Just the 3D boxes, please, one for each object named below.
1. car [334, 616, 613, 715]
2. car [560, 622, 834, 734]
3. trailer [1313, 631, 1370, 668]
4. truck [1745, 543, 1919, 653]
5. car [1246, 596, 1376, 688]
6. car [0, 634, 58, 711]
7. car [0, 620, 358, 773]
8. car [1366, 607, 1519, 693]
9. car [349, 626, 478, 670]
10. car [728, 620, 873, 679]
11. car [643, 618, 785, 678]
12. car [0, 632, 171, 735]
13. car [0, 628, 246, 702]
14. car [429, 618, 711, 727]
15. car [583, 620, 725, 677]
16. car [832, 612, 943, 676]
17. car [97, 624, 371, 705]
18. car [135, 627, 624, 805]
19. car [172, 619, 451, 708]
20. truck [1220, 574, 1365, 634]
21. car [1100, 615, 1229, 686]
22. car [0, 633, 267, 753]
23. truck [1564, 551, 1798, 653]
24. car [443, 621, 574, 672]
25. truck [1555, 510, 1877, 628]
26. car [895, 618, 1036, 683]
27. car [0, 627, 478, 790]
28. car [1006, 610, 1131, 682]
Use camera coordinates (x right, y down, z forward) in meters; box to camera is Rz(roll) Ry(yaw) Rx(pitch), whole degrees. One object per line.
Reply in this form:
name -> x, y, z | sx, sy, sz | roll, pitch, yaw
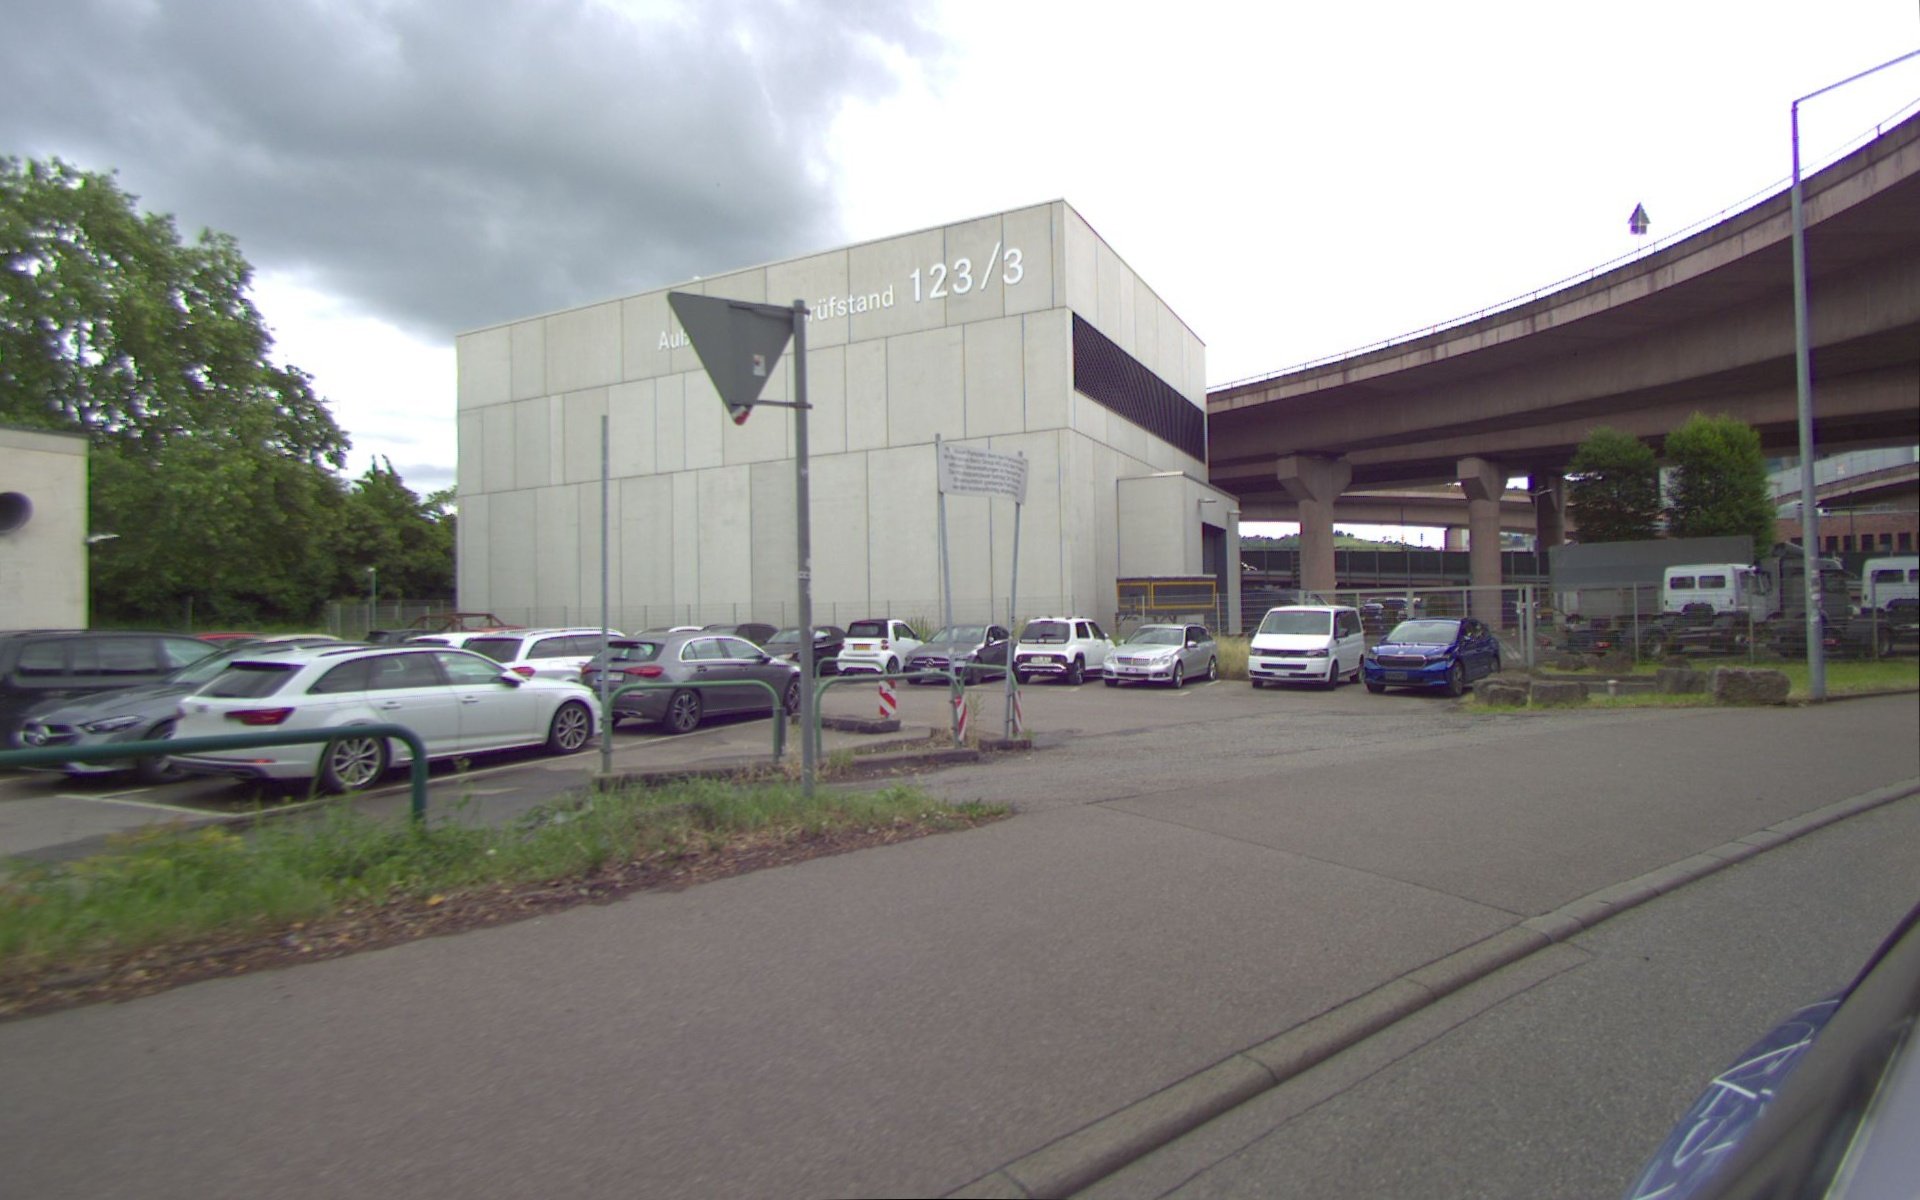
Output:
car -> -8.723, 1.101, 18.591 | 1.821, 1.533, 4.459 | -1, -1, 27
car -> -3.996, 1.123, 16.178 | 1.821, 1.443, 4.400 | -1, -1, 27
trailer -> 11.011, 1.403, 29.130 | 1.467, 0.910, 2.541 | -1, 1, 22
truck -> 25.433, -0.076, 27.998 | 7.084, 2.779, 2.429 | -1, -1, -20
car -> 8.460, 0.900, 24.112 | 1.880, 1.982, 4.625 | -1, 0, 33
car -> -19.035, 1.357, 17.817 | 1.766, 1.410, 4.398 | -1, -1, 24
car -> -10.751, 1.130, 13.409 | 1.838, 1.648, 4.581 | -1, -1, 24
car -> 10.746, 1.013, 22.383 | 1.769, 1.655, 4.613 | -1, 0, 43
car -> -19.104, 1.648, 35.582 | 1.479, 1.355, 4.017 | -1, 0, 21
car -> -4.270, 1.291, 27.806 | 1.758, 1.401, 4.319 | -1, 0, 27
car -> -6.804, 1.295, 28.480 | 1.754, 1.475, 4.329 | -1, 0, 21
car -> -15.025, 1.285, 15.317 | 1.838, 1.462, 4.581 | -1, -1, 24
car -> -19.376, 1.411, 23.371 | 1.821, 1.443, 4.400 | -1, -1, 27
car -> -6.422, 1.114, 17.232 | 1.821, 1.533, 4.459 | -1, -1, 27
car -> -8.966, 1.363, 30.000 | 1.754, 1.475, 4.329 | -1, 0, 21
car -> -1.886, 1.128, 27.116 | 1.608, 1.564, 3.068 | -1, 0, 27
car -> -15.130, 1.267, 21.383 | 1.821, 1.443, 4.400 | -1, -1, 27
car -> -6.231, 1.106, 11.557 | 1.840, 1.494, 4.643 | -1, -1, 27
car -> -12.816, 1.177, 20.345 | 1.821, 1.533, 4.459 | -1, -1, 27
truck -> 17.686, 0.267, 53.877 | 6.871, 2.970, 3.017 | -1, -1, 31
car -> 5.030, 1.134, 24.425 | 1.760, 1.475, 4.507 | -1, 0, 29
car -> -12.792, 1.265, 14.413 | 1.838, 1.462, 4.581 | -1, -1, 24
truck -> 21.909, 0.041, 30.837 | 5.990, 2.923, 2.463 | -1, -1, -15
car -> -14.604, 1.462, 32.974 | 1.479, 1.478, 4.035 | -1, 0, 21
truck -> 30.778, -1.072, 42.076 | 10.037, 4.422, 3.876 | -1, -1, 27
car -> 0.241, 1.181, 25.256 | 1.758, 1.401, 4.319 | -1, 0, 27
car -> -8.521, 1.129, 12.407 | 1.838, 1.494, 4.647 | -1, -1, 24
car -> 2.817, 1.070, 25.360 | 1.757, 1.608, 4.322 | -1, 0, 26
